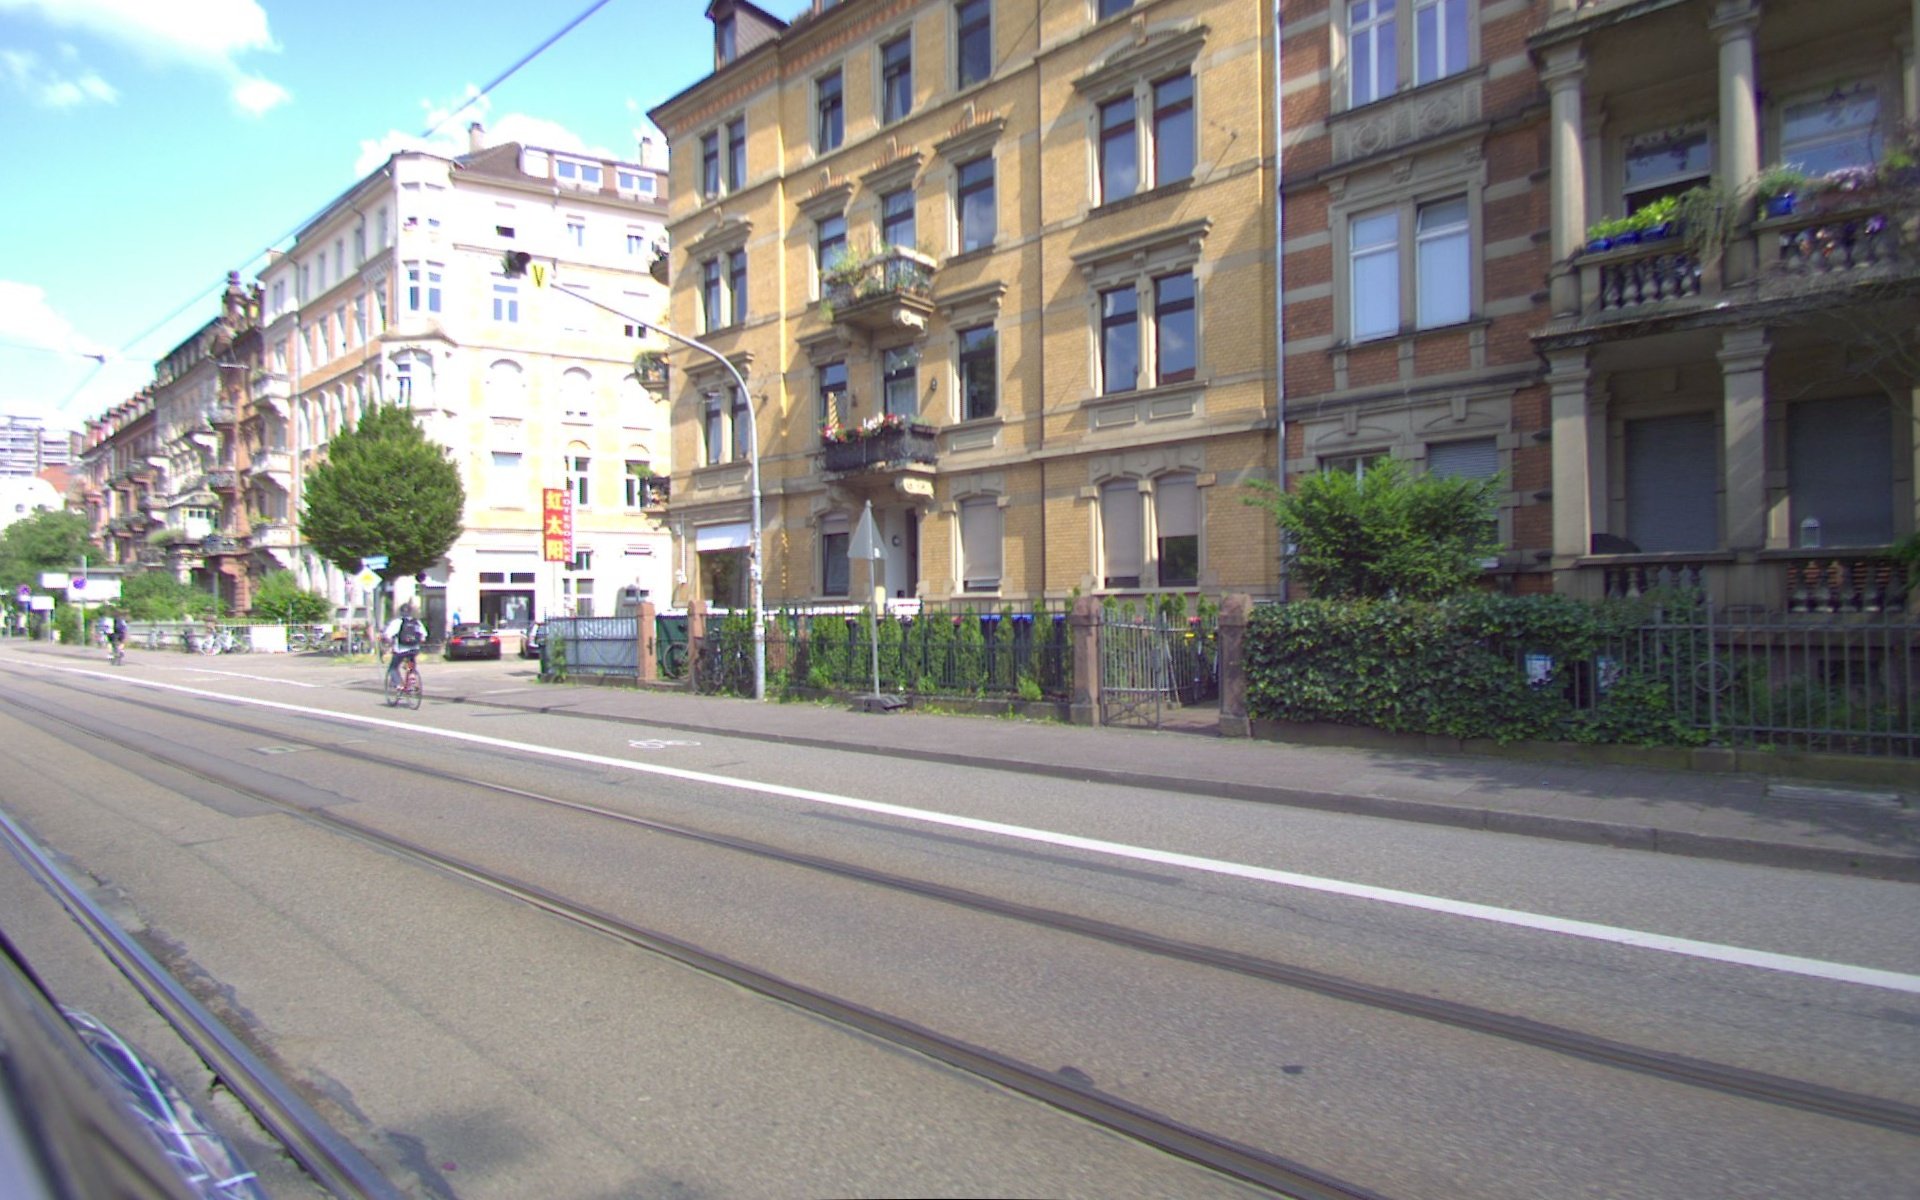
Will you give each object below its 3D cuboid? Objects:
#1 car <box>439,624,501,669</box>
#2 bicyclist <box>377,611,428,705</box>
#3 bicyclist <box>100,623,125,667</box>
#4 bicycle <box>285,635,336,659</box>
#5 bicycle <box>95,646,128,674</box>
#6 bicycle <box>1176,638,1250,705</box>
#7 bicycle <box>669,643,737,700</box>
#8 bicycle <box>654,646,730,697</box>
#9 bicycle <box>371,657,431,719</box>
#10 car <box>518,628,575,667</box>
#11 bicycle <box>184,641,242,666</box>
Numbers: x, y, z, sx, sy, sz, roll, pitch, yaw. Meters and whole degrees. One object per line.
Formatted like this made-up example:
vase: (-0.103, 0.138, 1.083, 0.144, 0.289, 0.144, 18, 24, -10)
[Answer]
car: (-18.337, 1.696, 37.808, 1.751, 1.541, 3.876, 0, -1, -31)
bicyclist: (-9.225, 0.947, 16.745, 0.605, 1.510, 0.744, 2, -3, -37)
bicyclist: (-29.350, 1.566, 35.032, 0.742, 1.510, 0.471, -1, -3, 38)
bicycle: (-27.077, 1.965, 42.215, 0.483, 0.948, 1.731, -1, -3, 39)
bicycle: (-29.384, 2.065, 35.031, 1.752, 0.948, 0.477, -1, -3, 38)
bicycle: (3.731, 1.046, 14.889, 0.401, 0.948, 1.413, -5, -6, 42)
bicycle: (-4.428, 1.243, 17.404, 1.472, 0.948, 0.395, -5, -6, 43)
bicycle: (-5.103, 1.364, 19.346, 0.401, 0.948, 1.413, -5, -6, 42)
bicycle: (-9.316, 1.438, 16.839, 0.598, 0.948, 1.758, 3, -3, -37)
car: (-15.989, 1.787, 39.027, 1.751, 1.382, 3.878, 0, -1, -26)
bicycle: (-28.975, 2.061, 39.283, 1.724, 0.948, 0.485, 2, -3, -25)
